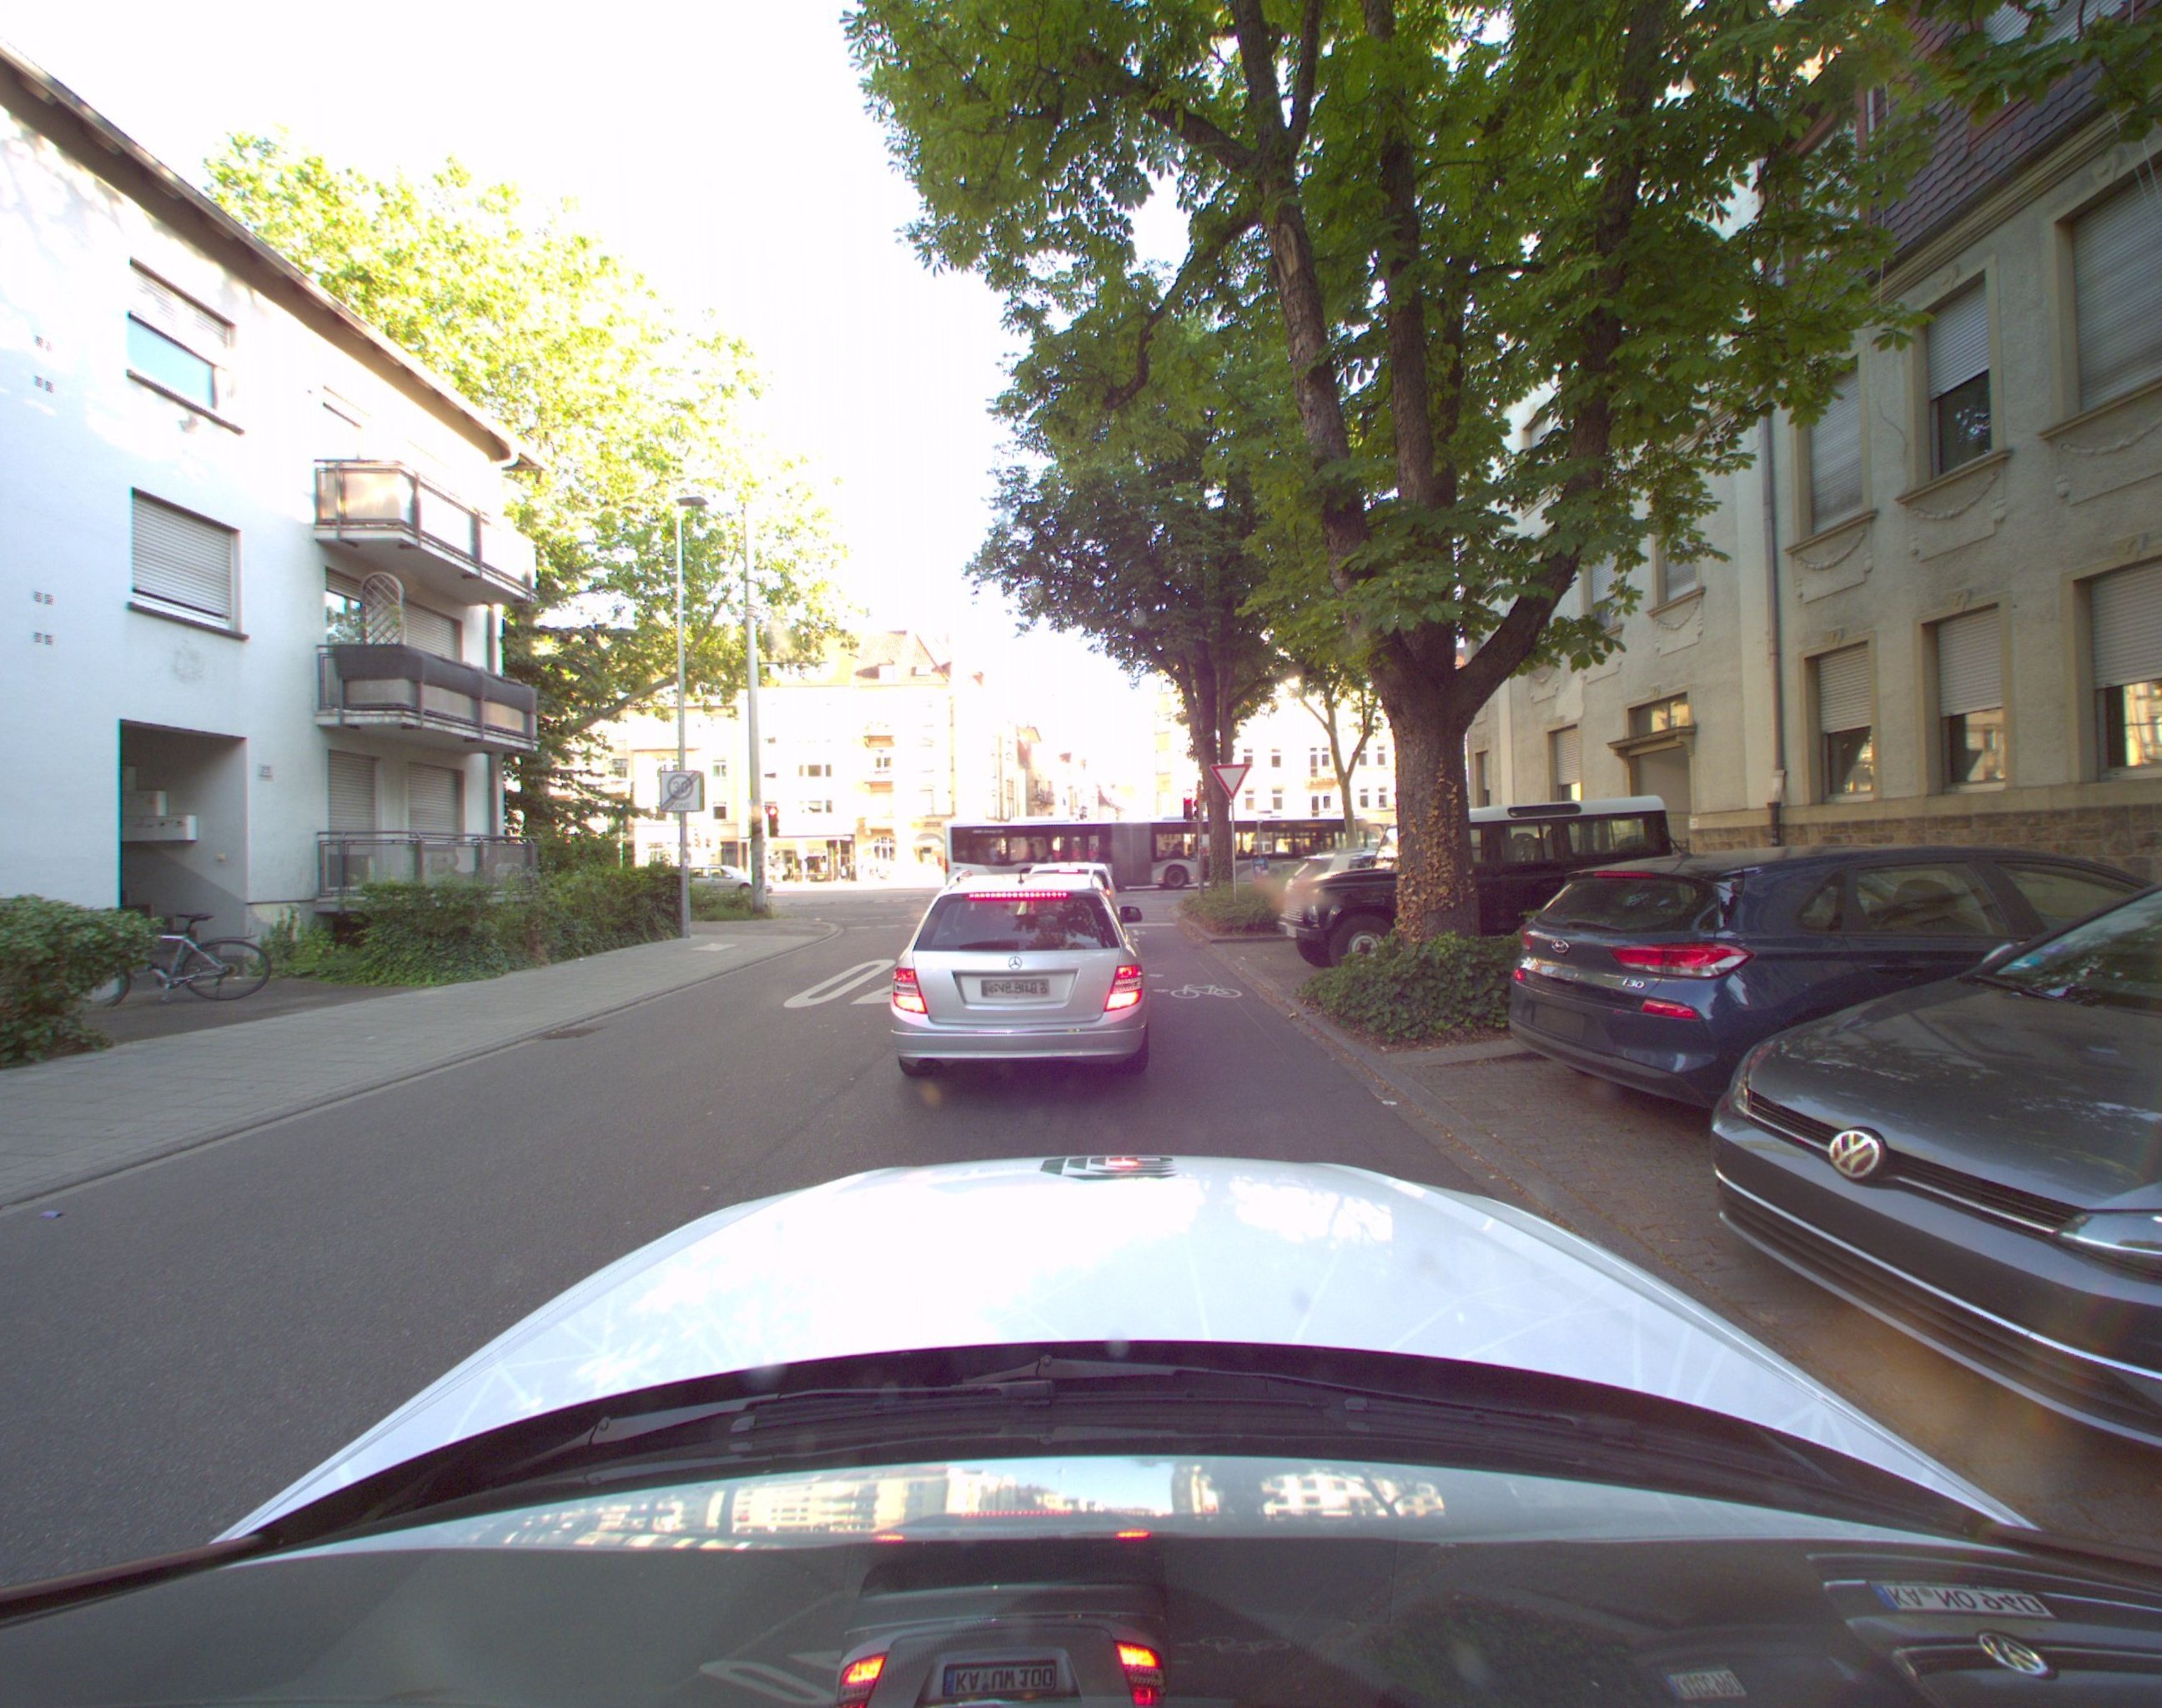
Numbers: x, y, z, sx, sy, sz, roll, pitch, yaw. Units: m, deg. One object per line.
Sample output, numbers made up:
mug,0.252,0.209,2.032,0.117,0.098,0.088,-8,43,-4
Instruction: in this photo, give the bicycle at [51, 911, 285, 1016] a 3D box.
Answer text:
bicycle,-9.999,1.163,9.010,1.630,1.008,0.511,2,-1,-39

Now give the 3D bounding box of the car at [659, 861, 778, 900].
car,-15.524,1.123,35.060,4.338,1.497,1.658,-2,0,-5

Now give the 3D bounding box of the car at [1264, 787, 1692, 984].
car,4.736,0.358,10.130,4.453,2.036,1.700,-3,-1,-2

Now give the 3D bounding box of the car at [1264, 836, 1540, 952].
car,5.026,0.604,13.090,3.714,1.570,1.707,-3,-1,-2

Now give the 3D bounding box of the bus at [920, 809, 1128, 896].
bus,-2.338,-0.097,33.850,8.166,3.201,2.905,-2,0,-7

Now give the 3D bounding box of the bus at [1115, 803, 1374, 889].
bus,6.874,-0.347,34.933,10.440,3.201,2.905,-2,0,-7

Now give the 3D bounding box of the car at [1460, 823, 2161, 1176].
car,4.392,0.631,4.556,3.714,1.452,1.707,-3,-1,-2

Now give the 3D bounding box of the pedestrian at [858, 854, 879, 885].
pedestrian,-17.166,1.252,65.786,1.343,2.464,1.059,-1,0,-3

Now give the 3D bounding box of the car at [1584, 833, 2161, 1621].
car,4.027,0.650,2.385,4.042,1.452,1.722,-3,-1,-2

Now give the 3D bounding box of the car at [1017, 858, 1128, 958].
car,-0.112,0.806,14.172,1.614,1.447,4.344,-1,0,0

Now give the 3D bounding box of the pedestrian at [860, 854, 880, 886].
pedestrian,-16.659,1.227,64.364,1.343,2.464,1.059,-1,0,-3

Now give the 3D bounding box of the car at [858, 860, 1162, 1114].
car,-0.407,0.798,7.084,1.771,1.452,4.547,-1,0,0
